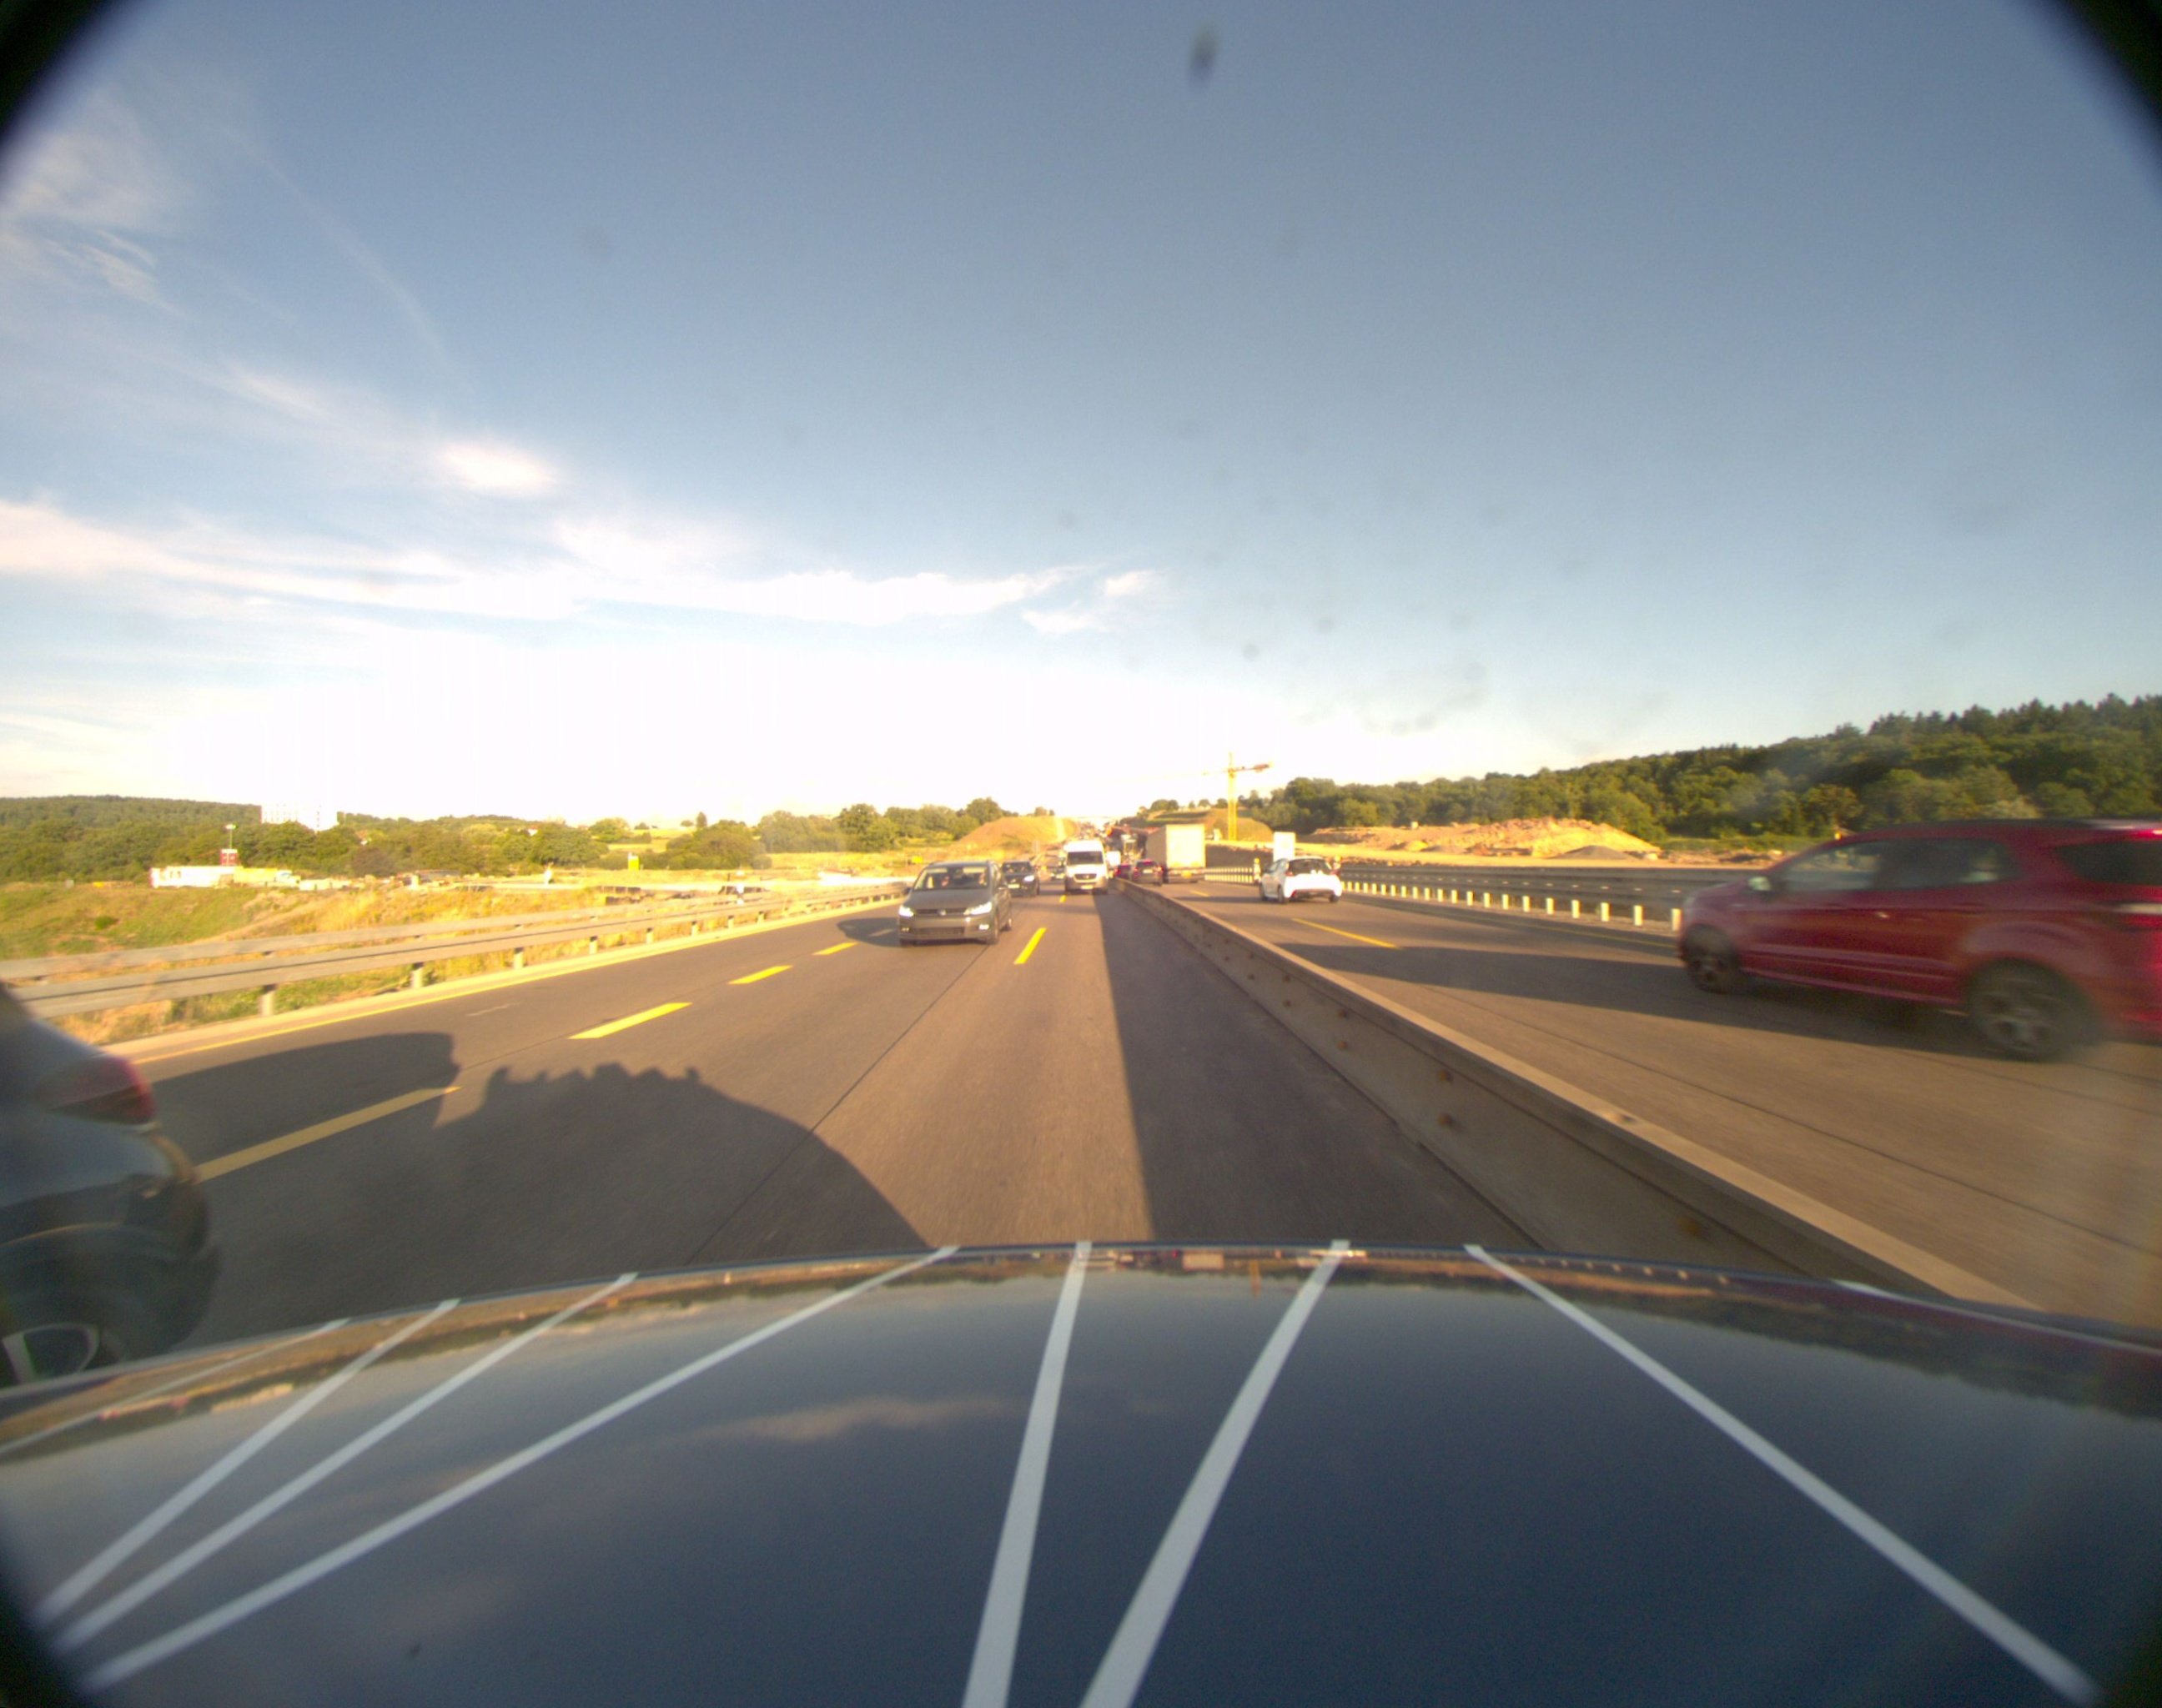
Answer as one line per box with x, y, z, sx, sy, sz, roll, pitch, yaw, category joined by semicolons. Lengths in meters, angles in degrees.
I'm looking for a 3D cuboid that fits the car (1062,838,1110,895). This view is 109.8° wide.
0.246;0.590;37.110;2.110;2.518;5.220;-2;0;1;car

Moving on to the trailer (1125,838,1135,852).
14.197;-2.503;219.111;2.780;4.008;13.685;-1;0;4;trailer

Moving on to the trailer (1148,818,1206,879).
7.058;-0.358;58.004;2.821;4.027;14.021;-1;0;1;trailer

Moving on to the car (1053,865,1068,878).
-2.446;2.105;91.598;1.791;1.477;4.000;-2;-1;-1;car

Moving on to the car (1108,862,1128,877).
4.008;1.661;82.736;1.771;1.526;3.999;-2;0;-2;car

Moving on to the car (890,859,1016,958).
-2.450;0.970;15.636;1.817;1.606;4.525;-4;0;-1;car

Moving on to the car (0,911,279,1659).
-3.280;0.980;0.140;1.778;1.576;4.135;-2;0;1;car

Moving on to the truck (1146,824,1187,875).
7.154;-0.347;64.444;2.821;4.024;5.672;-1;0;1;truck

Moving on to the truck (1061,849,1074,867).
-2.809;0.787;161.949;2.263;3.705;6.572;-4;0;0;truck

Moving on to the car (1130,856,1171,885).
4.220;0.964;46.723;1.999;1.635;4.511;-2;0;0;car

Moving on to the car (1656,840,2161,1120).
6.910;0.697;5.941;1.784;1.562;4.000;-1;0;0;car

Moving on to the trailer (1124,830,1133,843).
16.384;-6.003;262.116;2.536;4.190;13.933;-3;2;4;trailer

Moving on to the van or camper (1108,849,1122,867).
6.946;0.834;156.516;2.464;3.477;7.413;-2;-1;0;van or camper

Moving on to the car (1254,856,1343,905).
6.881;0.797;24.476;1.705;1.437;4.000;-1;0;0;car

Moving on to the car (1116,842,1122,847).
11.705;-2.885;236.222;1.719;1.401;4.328;-1;1;5;car

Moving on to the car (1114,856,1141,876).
3.883;0.983;64.524;1.998;1.610;4.605;-1;0;0;car

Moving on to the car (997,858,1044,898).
-2.830;1.089;36.475;1.902;1.703;4.887;-2;0;-1;car
